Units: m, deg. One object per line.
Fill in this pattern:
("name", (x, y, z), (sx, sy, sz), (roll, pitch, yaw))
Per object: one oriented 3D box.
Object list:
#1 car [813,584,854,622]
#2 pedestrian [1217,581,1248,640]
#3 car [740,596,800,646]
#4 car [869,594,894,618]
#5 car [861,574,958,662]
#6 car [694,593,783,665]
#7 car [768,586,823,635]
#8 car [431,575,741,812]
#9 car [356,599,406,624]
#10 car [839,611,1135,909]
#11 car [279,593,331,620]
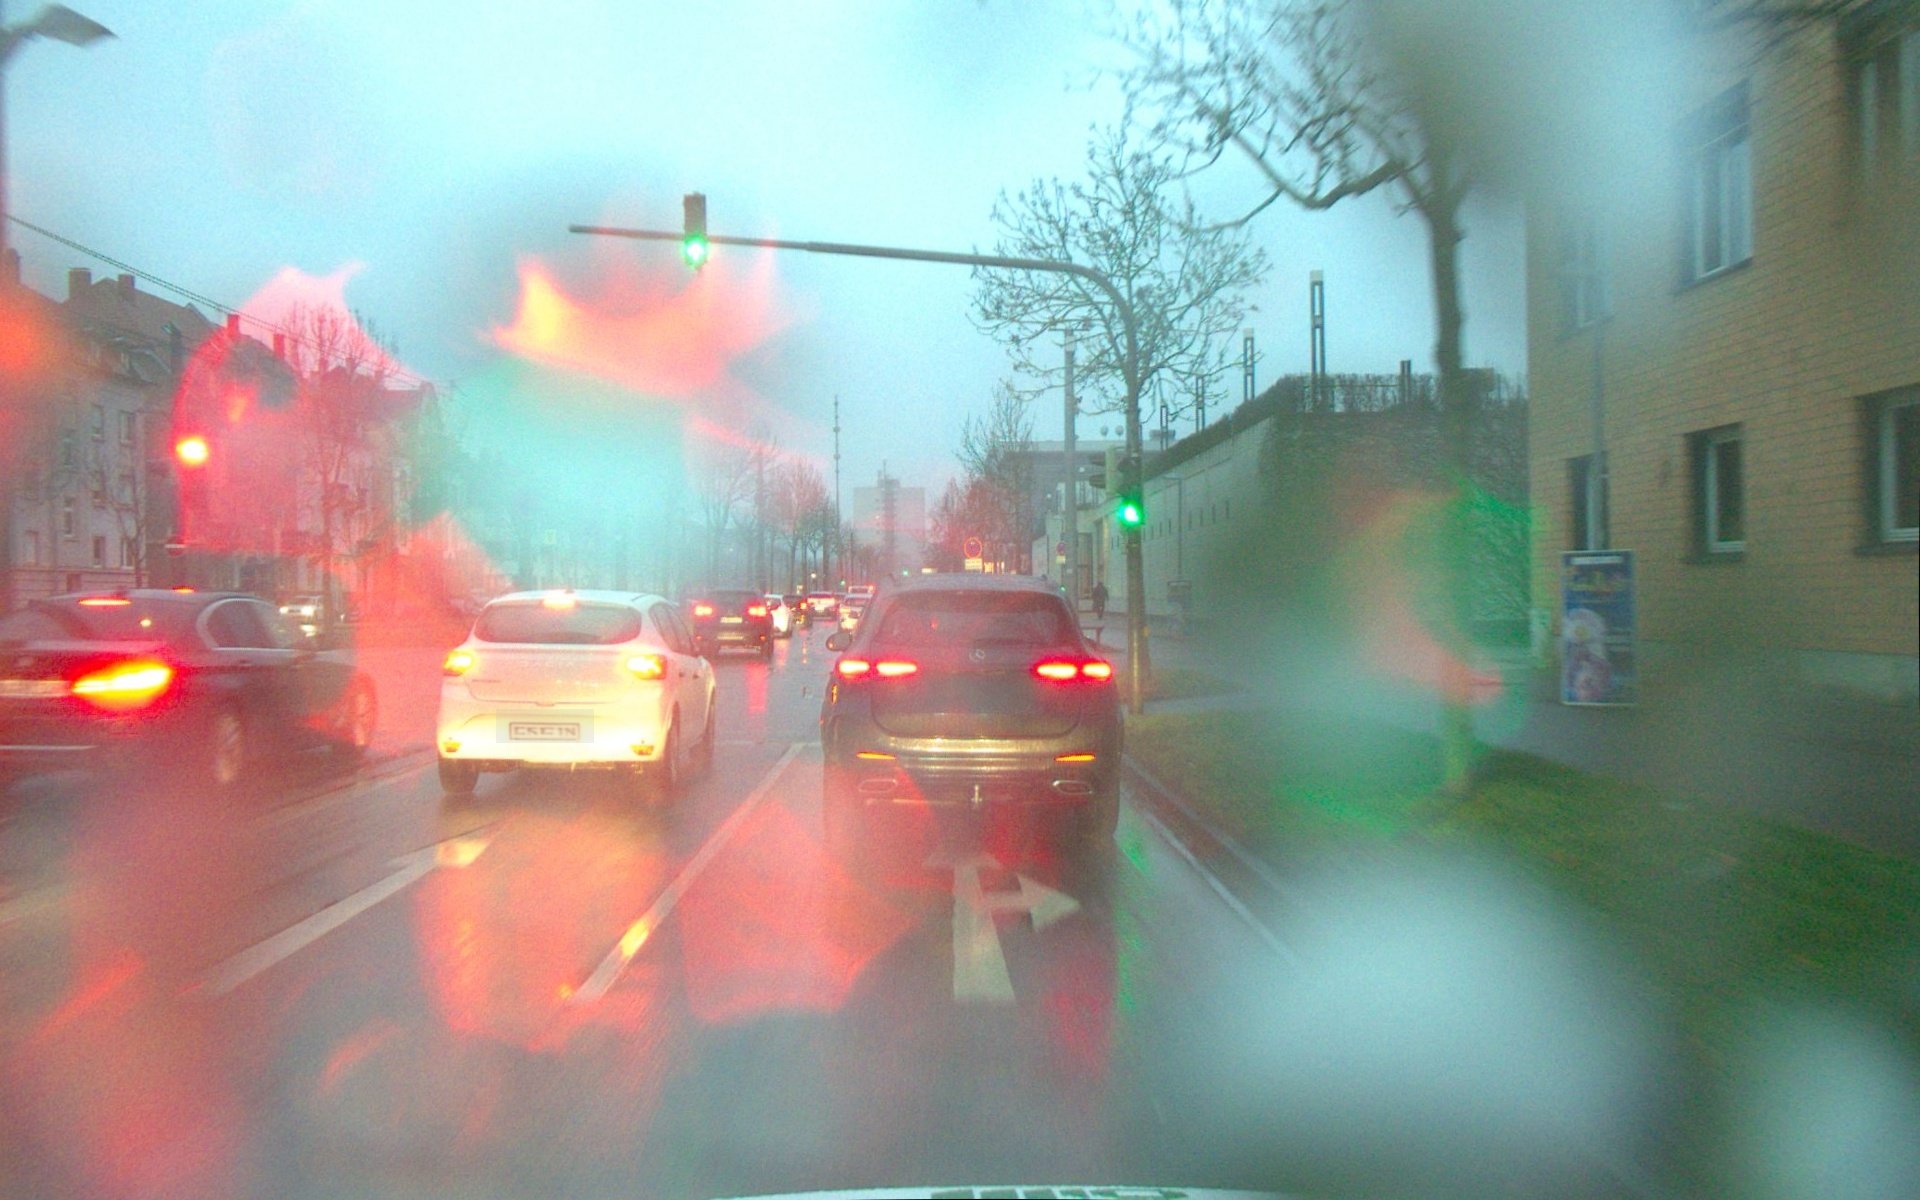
("car", (-7.076, 0.198, 92.705), (1.953, 2.049, 4.000), (2, -1, 0))
("pedestrian", (7.651, 0.286, 46.473), (0.609, 1.639, 1.066), (0, 0, -5))
("car", (-6.515, 0.706, 57.018), (1.638, 1.628, 4.053), (1, 0, -1))
("car", (-6.680, 0.501, 141.001), (1.953, 2.049, 4.000), (-1, 0, 0))
("car", (-1.054, 0.363, 35.769), (1.953, 1.774, 3.999), (0, 0, -1))
("car", (-5.296, 0.665, 40.020), (1.638, 1.628, 4.053), (1, 0, -1))
("car", (-7.151, 0.478, 72.297), (1.953, 2.049, 4.000), (2, -1, 0))
("car", (-2.869, 0.657, 13.539), (1.638, 1.628, 4.053), (1, 0, -1))
("car", (-33.364, 0.665, 95.351), (1.740, 1.378, 3.555), (-1, 0, -2))
("car", (0.129, 0.908, 11.267), (1.638, 1.628, 4.053), (1, 0, -1))
("car", (-38.496, 0.353, 97.283), (1.740, 1.526, 3.555), (-1, 0, -2))
